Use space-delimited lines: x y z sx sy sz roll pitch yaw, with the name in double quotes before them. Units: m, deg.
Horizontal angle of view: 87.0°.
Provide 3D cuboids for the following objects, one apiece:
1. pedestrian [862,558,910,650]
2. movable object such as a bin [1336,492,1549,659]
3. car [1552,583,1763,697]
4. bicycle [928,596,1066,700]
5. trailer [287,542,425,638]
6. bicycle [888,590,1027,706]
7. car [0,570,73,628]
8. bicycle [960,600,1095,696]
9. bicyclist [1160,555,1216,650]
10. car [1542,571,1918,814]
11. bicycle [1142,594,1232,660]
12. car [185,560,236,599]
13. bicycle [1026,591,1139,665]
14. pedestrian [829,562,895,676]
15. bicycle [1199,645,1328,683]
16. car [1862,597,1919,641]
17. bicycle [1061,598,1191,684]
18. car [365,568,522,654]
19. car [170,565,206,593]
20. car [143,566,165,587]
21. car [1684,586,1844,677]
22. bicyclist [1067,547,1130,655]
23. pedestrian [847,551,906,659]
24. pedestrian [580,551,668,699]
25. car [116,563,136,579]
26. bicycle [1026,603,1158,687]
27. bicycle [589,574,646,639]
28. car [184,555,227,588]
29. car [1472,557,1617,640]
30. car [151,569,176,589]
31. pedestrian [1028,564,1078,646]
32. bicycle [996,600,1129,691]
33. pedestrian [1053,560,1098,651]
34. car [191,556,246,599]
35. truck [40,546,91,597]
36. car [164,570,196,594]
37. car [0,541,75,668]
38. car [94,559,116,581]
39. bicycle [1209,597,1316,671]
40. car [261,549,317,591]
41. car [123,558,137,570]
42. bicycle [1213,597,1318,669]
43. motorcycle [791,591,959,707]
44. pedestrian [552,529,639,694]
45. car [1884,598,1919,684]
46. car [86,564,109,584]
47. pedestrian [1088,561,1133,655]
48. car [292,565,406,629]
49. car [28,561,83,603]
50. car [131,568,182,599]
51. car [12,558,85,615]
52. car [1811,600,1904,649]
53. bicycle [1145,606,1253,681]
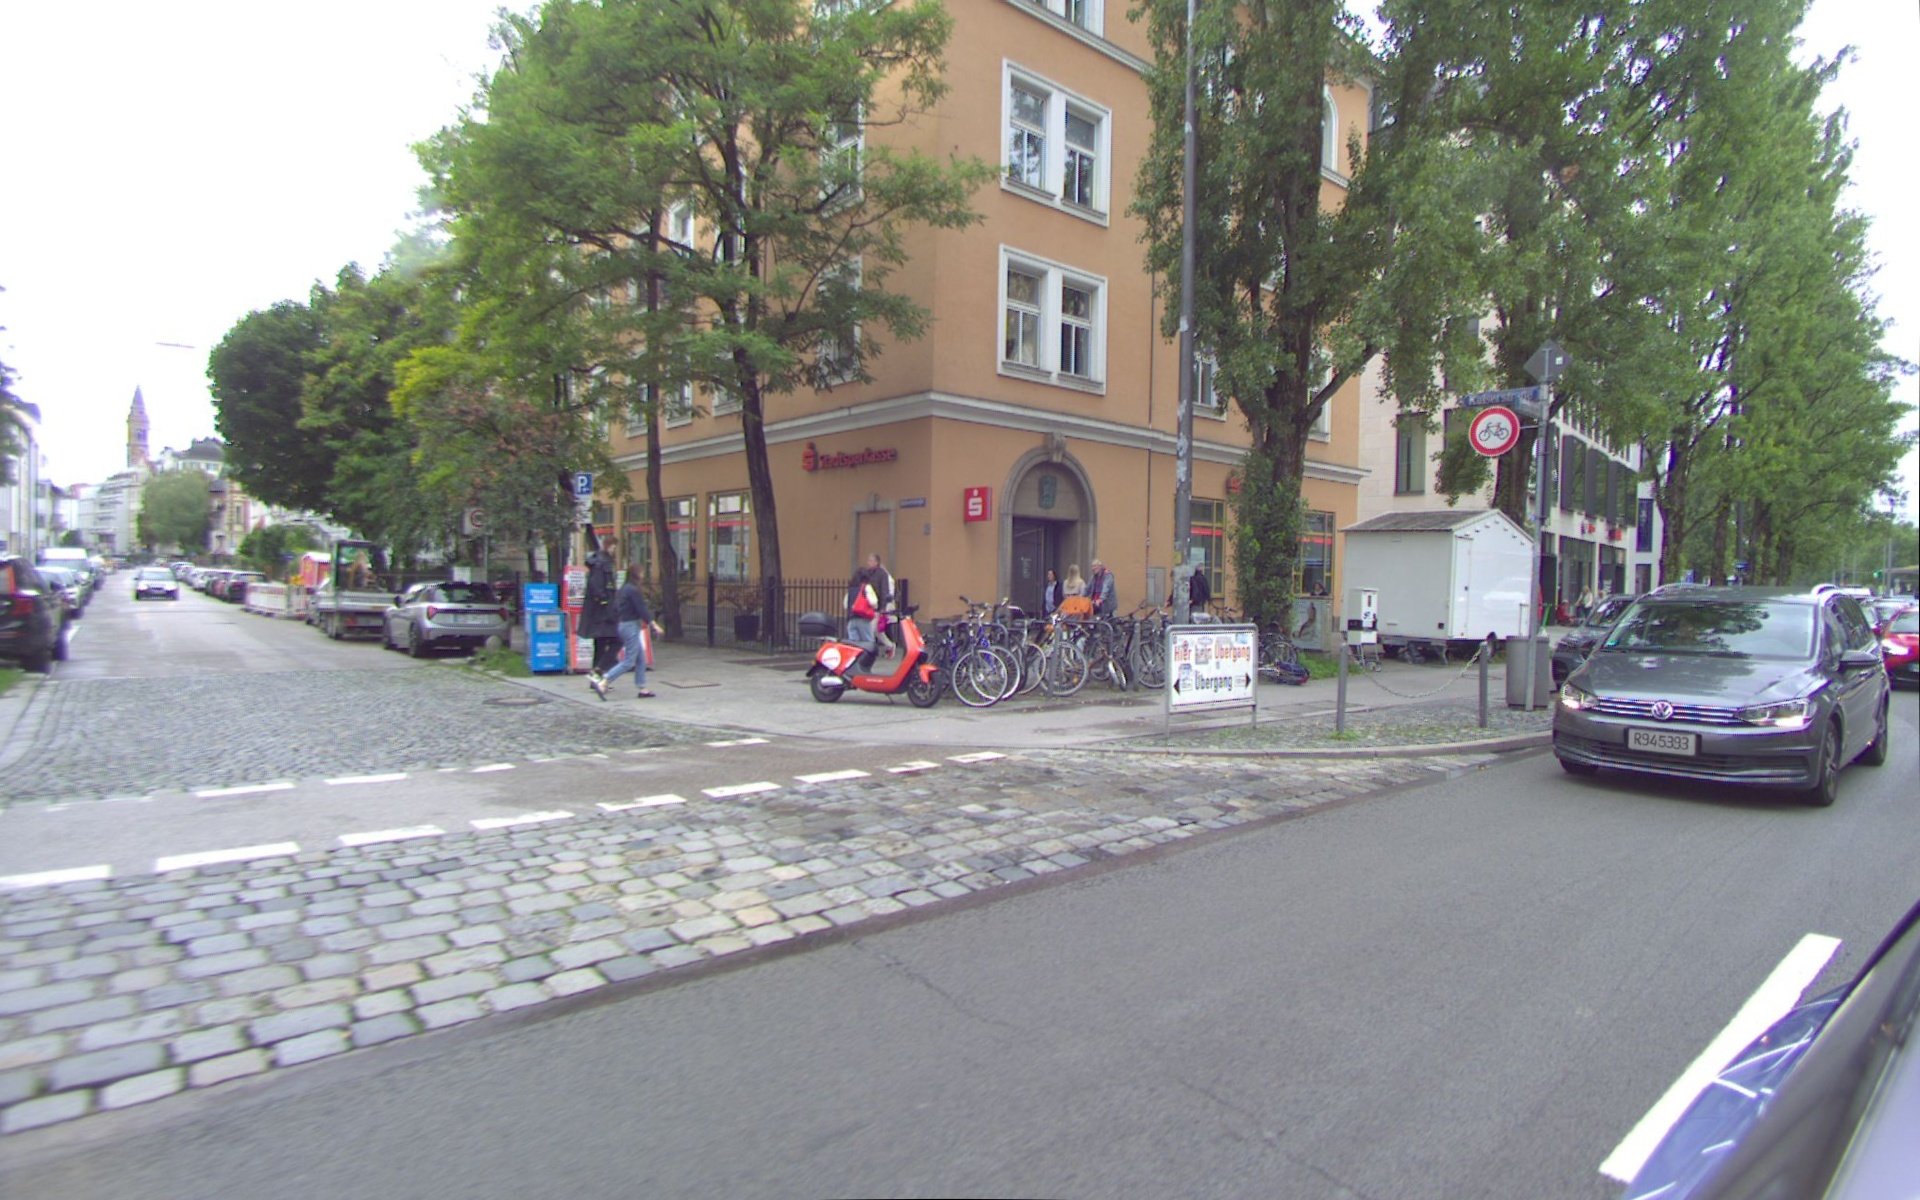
"pedestrian" -1.328 0.066 18.074 0.564 1.591 0.699 0 0 -38
"movable object such as a bin" 10.394 -0.522 21.695 4.464 3.175 2.445 0 2 -41
"car" 11.175 0.541 16.092 4.421 1.572 1.787 0 0 -42
"bicycle" 0.419 0.550 12.575 0.551 1.151 1.945 1 1 -39
"trailer" -14.567 -0.244 24.253 1.873 2.054 5.246 1 0 -42
"bicycle" -0.075 0.524 12.181 0.551 1.255 1.945 1 1 -39
"car" -24.611 -0.059 26.721 1.673 1.417 3.991 0 1 -43
"bicycle" 0.832 0.574 13.075 0.551 1.102 1.945 0 1 -39
"bicyclist" 4.225 0.031 18.738 0.738 1.708 0.737 1 1 42
"car" 6.831 0.606 8.815 4.120 1.611 1.880 0 0 -42
"bicycle" 4.231 0.470 18.753 0.734 1.134 2.071 2 1 41
"car" -40.807 -1.083 55.056 1.965 2.039 3.993 0 0 -41
"bicycle" 2.081 0.435 16.991 0.884 1.134 2.071 2 1 41
"pedestrian" -1.408 0.264 14.547 0.741 1.591 0.607 -1 0 33
"bicycle" 4.562 0.954 15.249 1.671 0.378 0.818 4 3 42
"car" 34.987 0.658 37.881 1.695 1.535 3.937 0 0 43
"bicycle" 2.337 0.548 14.484 0.551 1.098 1.945 0 1 -39
"car" -10.390 0.193 20.230 1.874 1.539 3.992 0 0 -42
"car" -59.452 -1.581 77.882 1.965 2.039 3.993 0 0 -41
"car" -102.917 -2.955 129.246 1.966 2.638 3.991 0 0 -43
"car" 16.095 0.552 20.178 4.421 1.634 1.787 0 0 -42
"bicyclist" 2.372 0.007 17.316 0.828 1.779 0.657 1 1 42
"pedestrian" -1.420 0.077 17.171 0.719 1.788 0.699 0 0 -38
"pedestrian" -3.996 0.281 12.032 0.758 1.682 0.745 0 0 -41
"car" -110.377 -3.822 133.936 1.965 2.039 3.993 0 0 -41
"bicycle" 1.784 0.586 13.999 0.551 1.022 1.945 0 1 -39
"bicycle" -7.679 0.139 22.664 0.551 1.389 1.945 1 0 -39
"car" -49.265 -1.815 66.052 1.965 2.039 3.993 0 0 -41
"car" 16.238 -0.053 28.088 3.919 2.149 1.687 1 1 -30
"car" -85.063 -2.181 108.077 1.965 2.039 3.993 0 0 -41
"pedestrian" 1.855 0.096 20.251 0.651 1.591 0.745 0 0 -38
"bicycle" 1.335 0.567 13.610 0.551 1.089 1.945 0 1 -39
"pedestrian" 2.207 0.097 19.402 0.565 1.715 0.633 0 0 -42
"car" -37.227 -1.089 50.776 1.965 2.039 3.993 0 0 -41
"truck" -46.060 -1.438 52.095 1.846 2.501 3.991 0 1 -43
"car" -68.381 -1.567 88.688 1.965 2.039 3.993 0 0 -41
"car" -14.779 0.070 15.124 1.934 1.724 4.428 0 0 -36
"car" -95.236 -3.310 112.736 1.673 2.447 3.991 0 1 -43
"bicycle" 4.805 0.518 16.101 1.587 1.098 0.339 1 1 28
"car" -35.150 -1.531 53.008 1.965 2.039 3.993 0 0 -41
"car" -149.383 -6.471 182.138 1.965 2.039 3.993 0 0 -41
"bicycle" 4.944 0.516 16.437 1.593 1.098 0.319 1 1 28
"motorcycle" -1.004 0.534 11.810 1.939 1.236 0.510 1 1 24
"pedestrian" -4.578 0.134 12.712 0.788 1.973 0.839 0 0 -39
"car" 17.986 0.705 18.221 3.934 1.451 1.614 0 0 -42
"car" -91.699 -2.731 107.620 1.673 2.079 3.991 0 1 -43
"pedestrian" 2.794 0.146 18.837 0.617 1.715 0.566 -1 0 41
"car" -17.616 -0.074 29.116 1.967 1.705 3.989 0 0 -44
"car" -39.129 -0.774 43.758 1.673 1.707 3.991 0 1 -43
"car" -40.122 -0.824 50.497 1.673 1.487 3.991 0 1 -43
"car" -29.237 -0.425 32.427 1.673 1.707 3.991 0 1 -43
"car" 27.408 0.704 30.870 3.934 1.378 1.698 0 0 -42
"bicycle" 3.554 0.628 15.148 1.597 1.022 0.337 2 1 43
